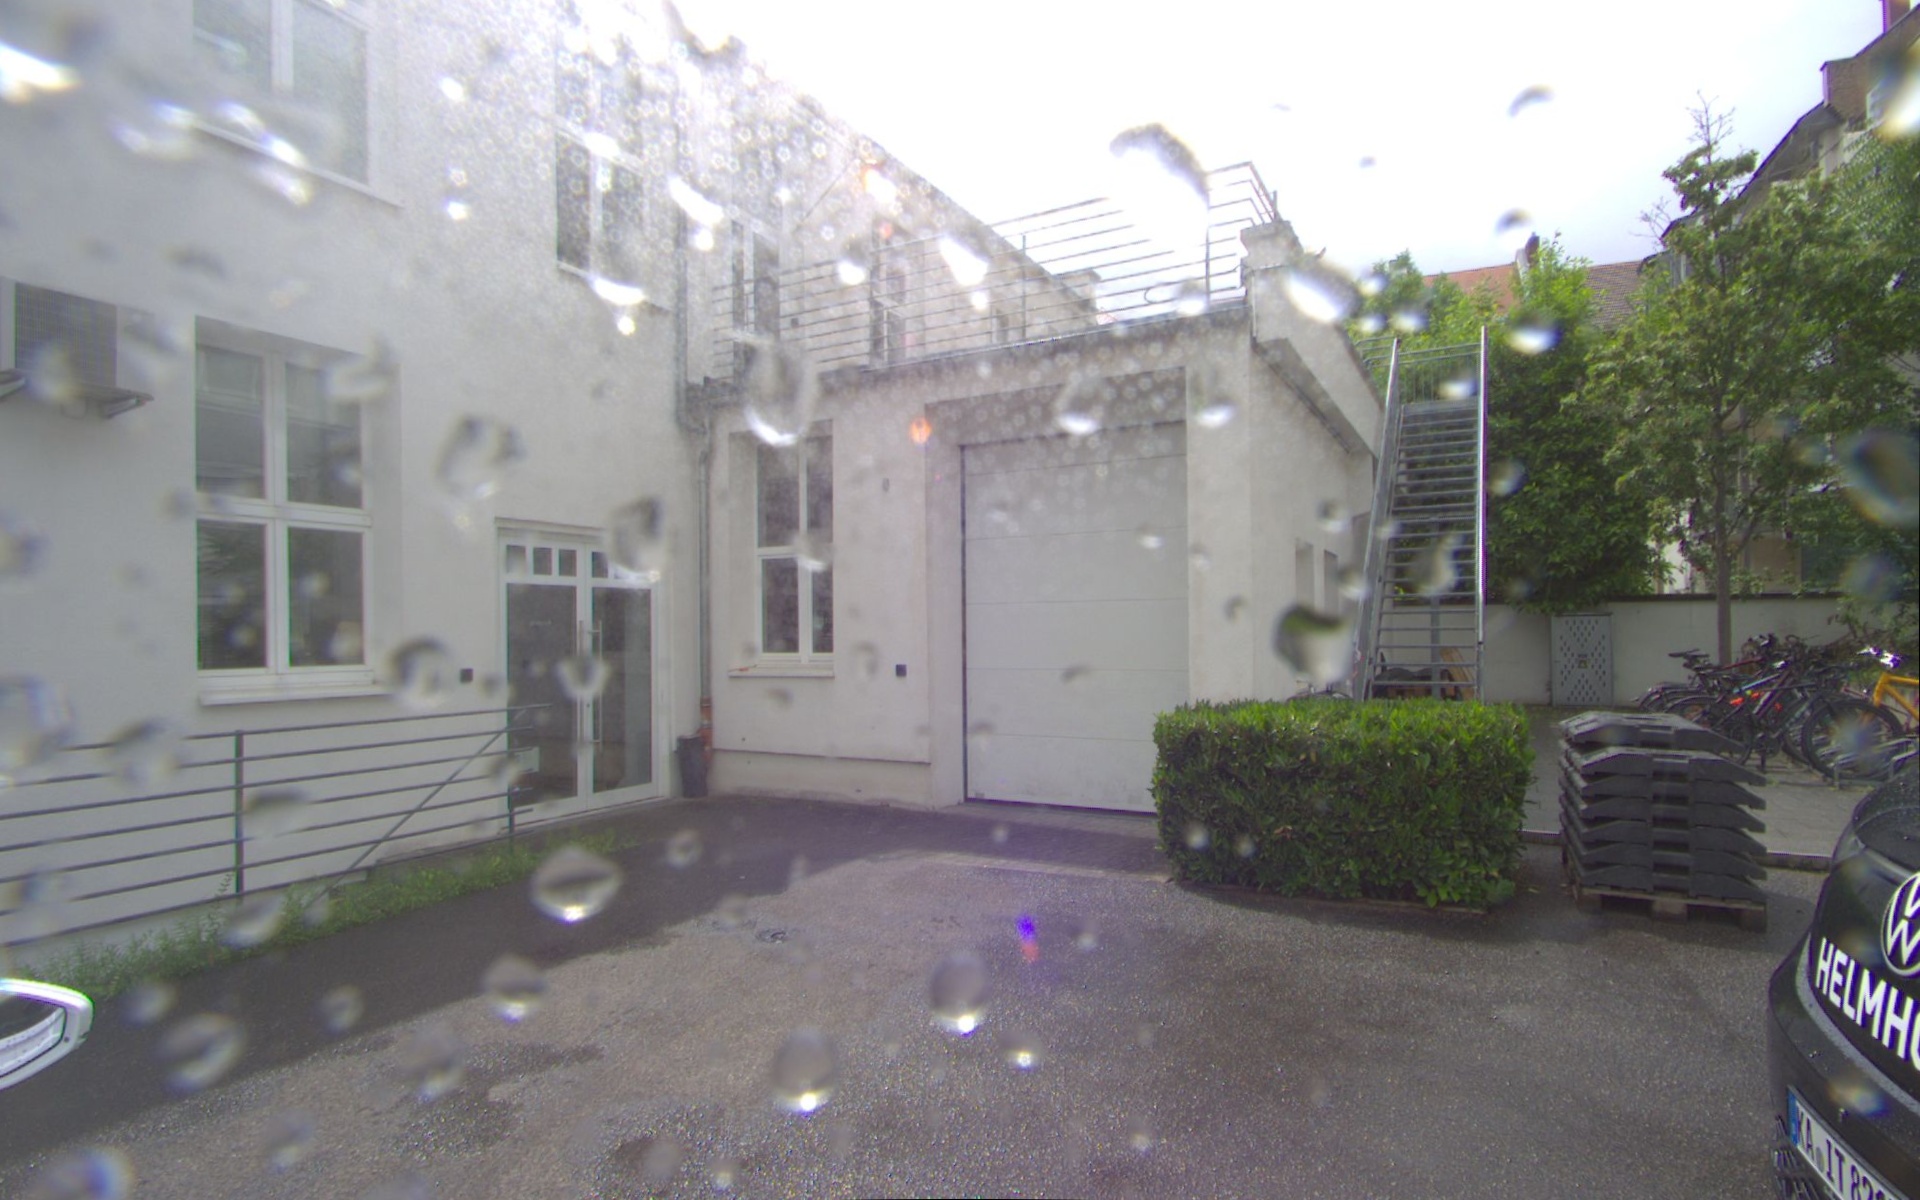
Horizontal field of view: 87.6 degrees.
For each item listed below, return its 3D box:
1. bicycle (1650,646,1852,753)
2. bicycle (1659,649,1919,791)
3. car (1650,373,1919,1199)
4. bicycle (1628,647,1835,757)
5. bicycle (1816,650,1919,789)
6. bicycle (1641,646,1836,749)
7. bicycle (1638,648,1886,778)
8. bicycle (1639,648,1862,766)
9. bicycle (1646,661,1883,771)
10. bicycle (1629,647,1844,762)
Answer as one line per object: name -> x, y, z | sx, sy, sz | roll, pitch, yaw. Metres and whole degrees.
bicycle -> 8.764, 1.084, 11.161 | 1.726, 1.118, 0.354 | -1, 0, 23
bicycle -> 7.126, 0.993, 8.632 | 1.770, 1.118, 0.403 | -1, 0, 31
car -> 3.728, 0.546, 0.952 | 4.668, 1.888, 1.966 | -2, -2, 22
bicycle -> 8.278, 1.071, 10.810 | 1.726, 1.118, 0.345 | -1, 0, 23
bicycle -> 8.175, 0.980, 8.160 | 1.770, 1.118, 0.365 | -1, 0, 31
bicycle -> 8.893, 1.096, 11.494 | 1.726, 1.118, 0.341 | -1, 0, 23
bicycle -> 7.436, 1.020, 9.379 | 1.770, 1.118, 0.353 | -1, 0, 31
bicycle -> 7.891, 1.045, 10.069 | 1.726, 1.118, 0.332 | -1, 0, 23
bicycle -> 7.774, 1.103, 9.747 | 1.766, 0.980, 0.329 | -1, 0, 23
bicycle -> 8.009, 1.058, 10.396 | 1.726, 1.118, 0.342 | -1, 0, 23
